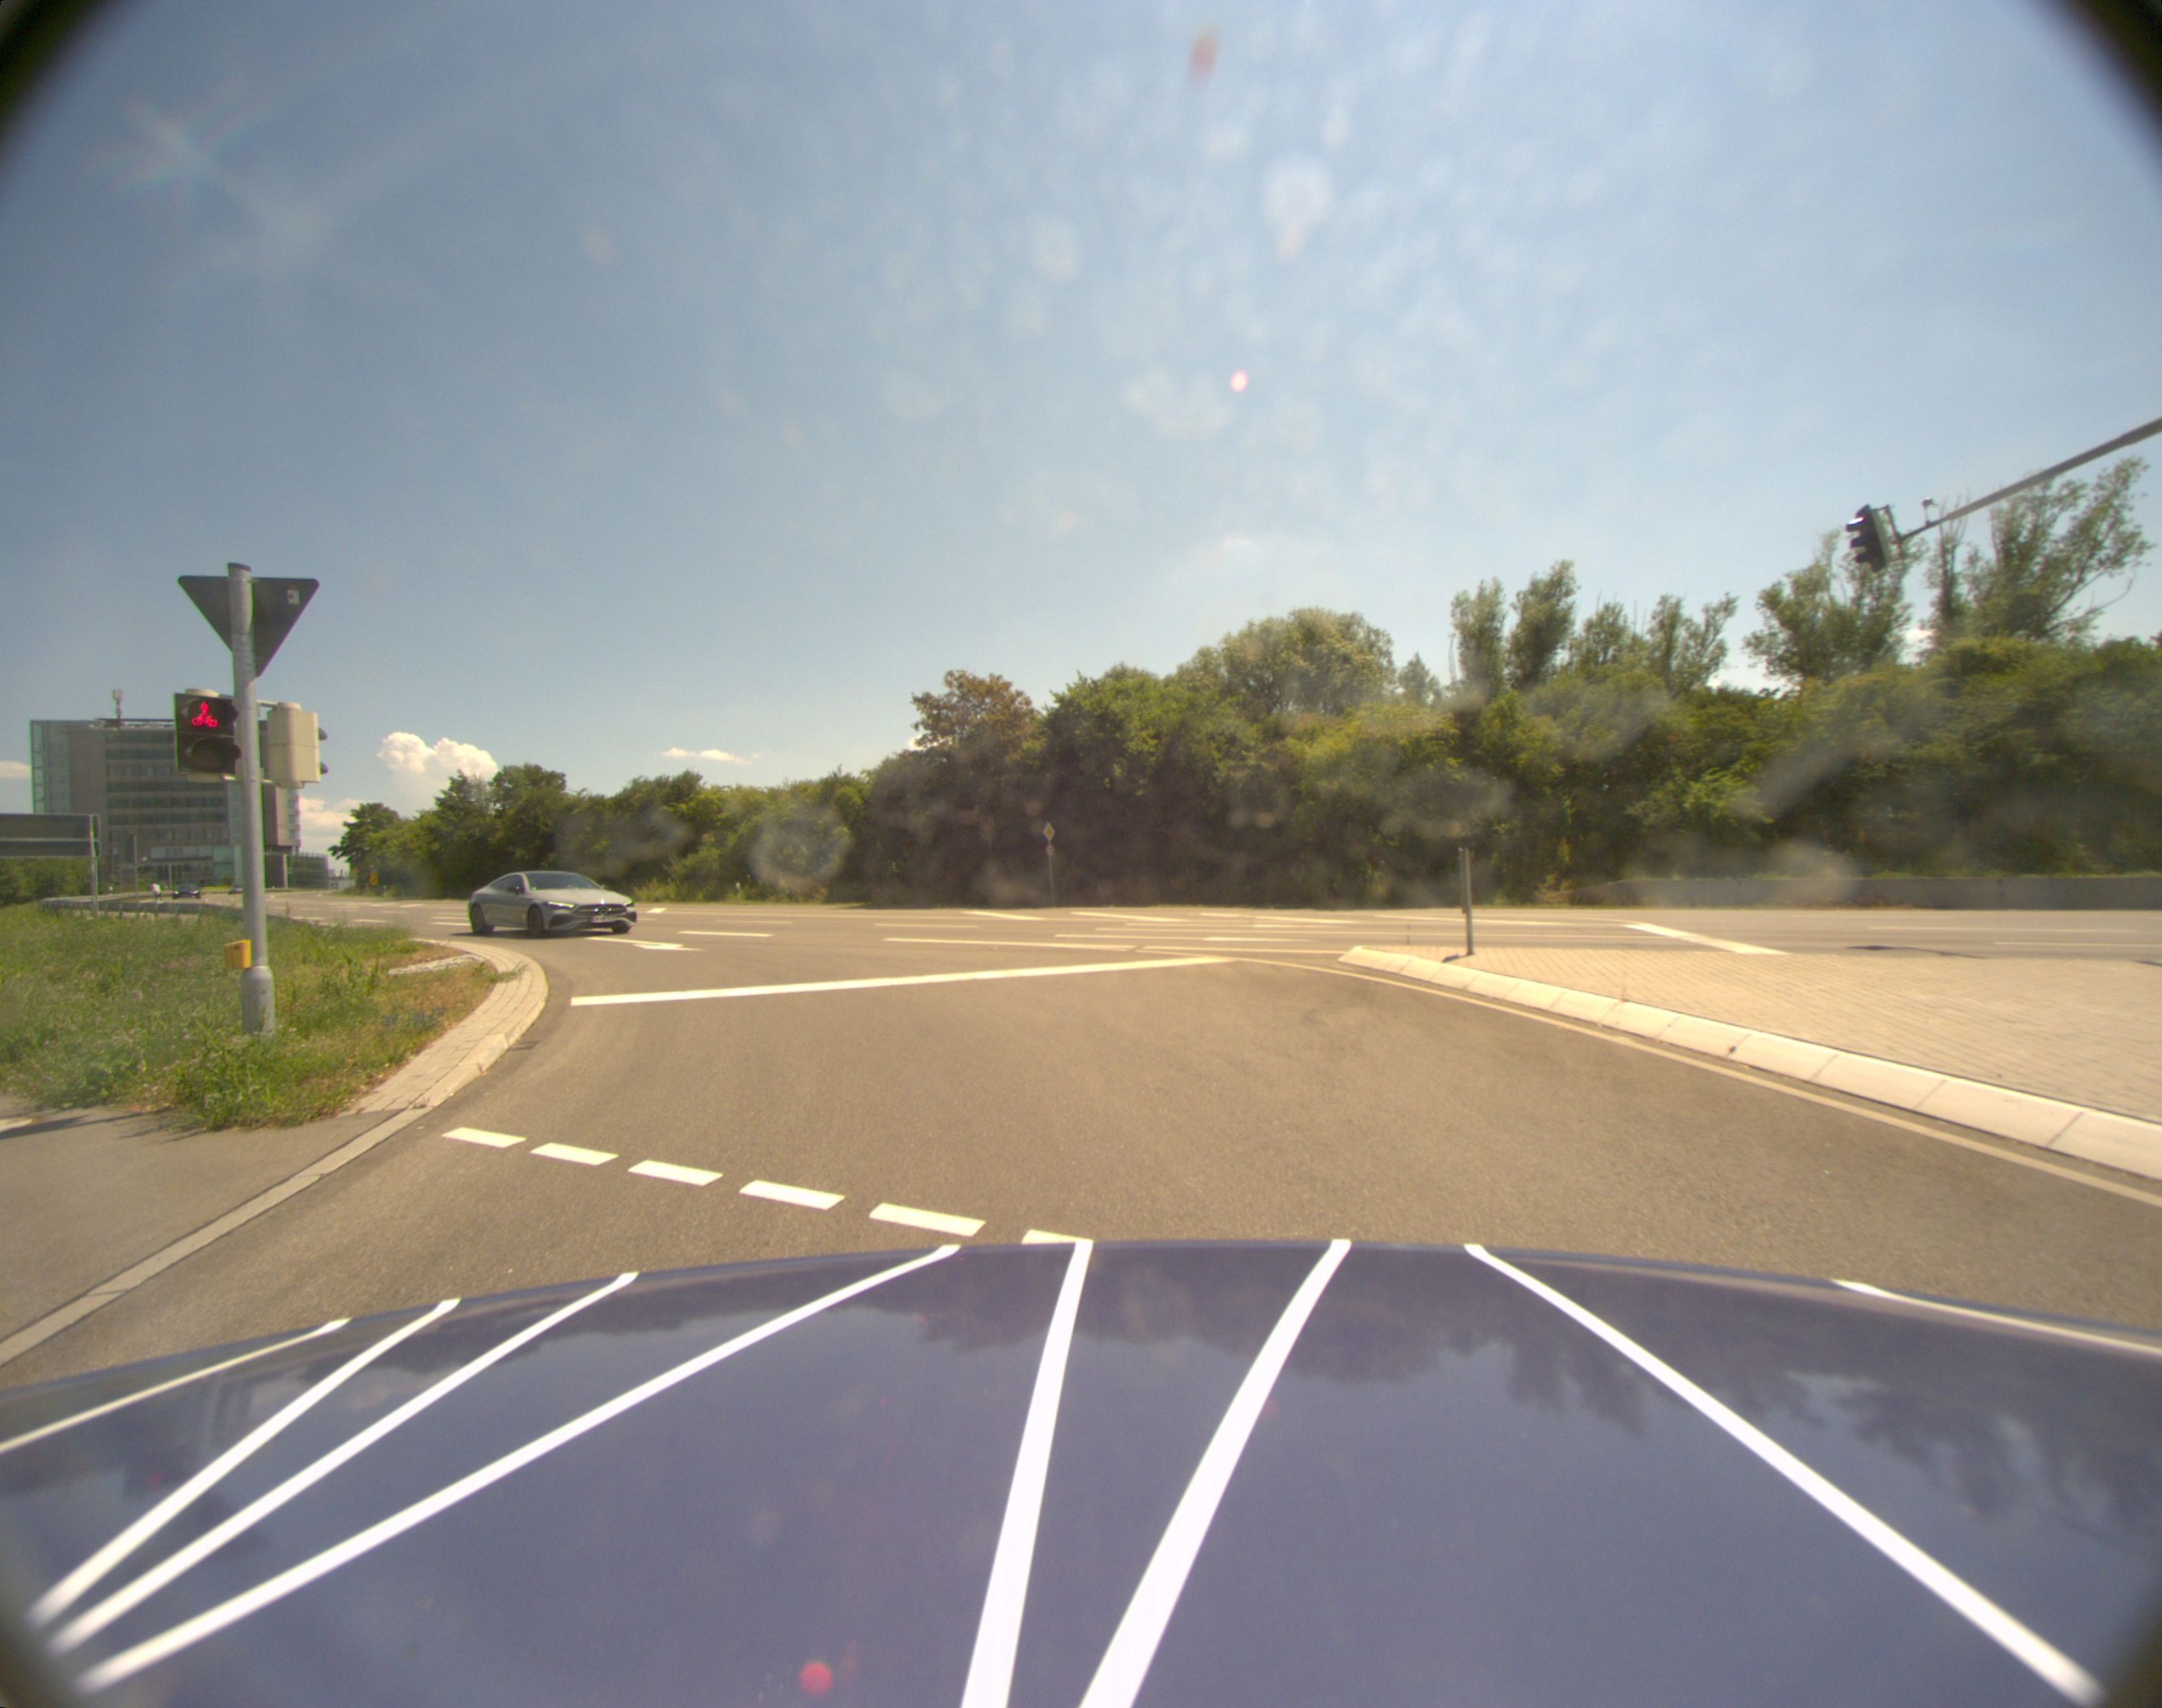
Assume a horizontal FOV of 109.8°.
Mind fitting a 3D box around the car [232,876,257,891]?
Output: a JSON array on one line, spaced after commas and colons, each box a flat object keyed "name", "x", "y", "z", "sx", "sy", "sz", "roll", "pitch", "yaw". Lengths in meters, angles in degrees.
[{"name": "car", "x": -118.162, "y": 4.087, "z": 107.339, "sx": 2.004, "sy": 2.002, "sz": 3.989, "roll": 0, "pitch": 0, "yaw": -41}]

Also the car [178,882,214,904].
[{"name": "car", "x": -86.668, "y": 3.769, "z": 74.389, "sx": 3.988, "sy": 2.002, "sz": 2.004, "roll": 0, "pitch": 0, "yaw": 36}]

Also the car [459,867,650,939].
[{"name": "car", "x": -11.893, "y": 1.130, "z": 17.093, "sx": 4.470, "sy": 1.433, "sz": 1.927, "roll": -4, "pitch": -3, "yaw": 32}]
